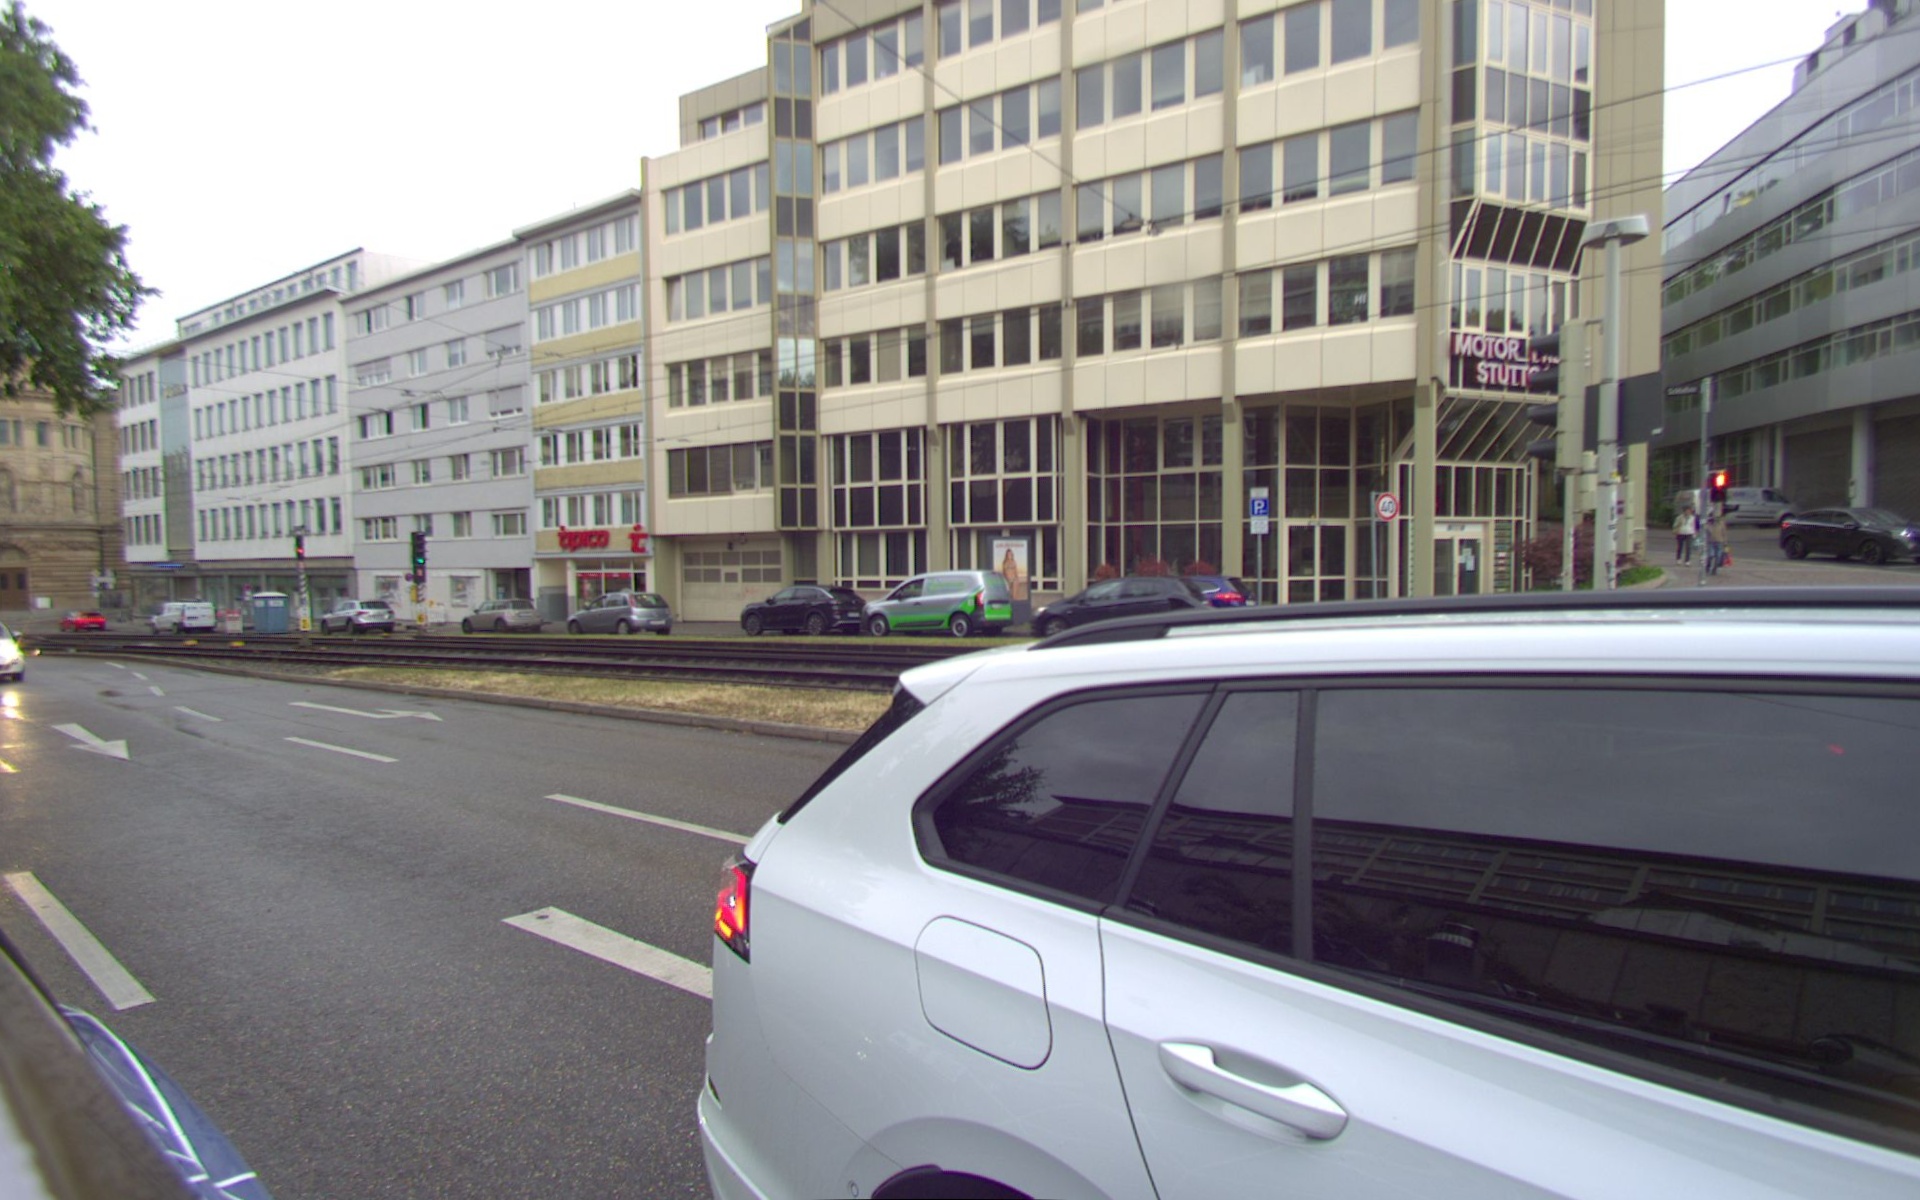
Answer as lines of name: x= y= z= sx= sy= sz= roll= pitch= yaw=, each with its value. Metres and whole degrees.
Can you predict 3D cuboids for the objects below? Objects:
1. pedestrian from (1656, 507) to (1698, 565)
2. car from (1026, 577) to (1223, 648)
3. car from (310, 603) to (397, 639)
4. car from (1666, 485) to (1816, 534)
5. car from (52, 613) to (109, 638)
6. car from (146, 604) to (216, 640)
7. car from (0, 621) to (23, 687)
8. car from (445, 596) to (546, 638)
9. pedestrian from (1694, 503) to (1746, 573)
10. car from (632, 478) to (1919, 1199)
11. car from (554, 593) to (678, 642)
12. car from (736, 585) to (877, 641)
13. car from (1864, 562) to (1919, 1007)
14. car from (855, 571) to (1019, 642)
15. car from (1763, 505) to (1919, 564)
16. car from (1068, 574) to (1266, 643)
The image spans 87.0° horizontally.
pedestrian: x=20.893 y=-1.864 z=29.488 sx=0.711 sy=1.651 sz=0.759 roll=-2 pitch=3 yaw=6
car: x=3.510 y=0.265 z=21.716 sx=3.854 sy=1.367 sz=1.617 roll=-1 pitch=2 yaw=29
car: x=-28.296 y=0.950 z=47.203 sx=4.066 sy=1.524 sz=1.869 roll=-1 pitch=3 yaw=34
car: x=37.641 y=-4.350 z=48.934 sx=5.357 sy=2.029 sz=1.993 roll=-1 pitch=0 yaw=12
car: x=-62.194 y=1.782 z=71.550 sx=4.465 sy=1.636 sz=1.869 roll=-1 pitch=3 yaw=34
car: x=-46.535 y=1.291 z=60.445 sx=4.465 sy=1.949 sz=1.869 roll=-1 pitch=3 yaw=34
car: x=-22.982 y=1.243 z=23.361 sx=3.438 sy=1.445 sz=1.633 roll=-1 pitch=0 yaw=41
car: x=-18.699 y=0.666 z=40.701 sx=4.066 sy=1.524 sz=1.782 roll=-1 pitch=3 yaw=34
pedestrian: x=20.261 y=-1.644 z=27.005 sx=0.821 sy=1.800 sz=0.759 roll=-2 pitch=3 yaw=6
car: x=1.628 y=0.623 z=1.156 sx=4.473 sy=1.453 sz=1.777 roll=-1 pitch=0 yaw=41
car: x=-10.758 y=0.540 z=31.588 sx=3.861 sy=1.367 sz=1.614 roll=-1 pitch=2 yaw=34
car: x=-4.701 y=0.379 z=30.749 sx=4.066 sy=1.524 sz=1.782 roll=-1 pitch=3 yaw=34
car: x=5.317 y=0.574 z=2.554 sx=4.473 sy=1.453 sz=1.777 roll=-1 pitch=0 yaw=41
car: x=-0.659 y=0.169 z=27.859 sx=4.204 sy=1.759 sz=1.782 roll=-1 pitch=2 yaw=33
car: x=27.482 y=-2.051 z=31.012 sx=1.974 sy=1.591 sz=4.884 roll=-2 pitch=5 yaw=3
car: x=4.833 y=0.192 z=23.845 sx=4.207 sy=1.488 sz=1.780 roll=-1 pitch=0 yaw=35
